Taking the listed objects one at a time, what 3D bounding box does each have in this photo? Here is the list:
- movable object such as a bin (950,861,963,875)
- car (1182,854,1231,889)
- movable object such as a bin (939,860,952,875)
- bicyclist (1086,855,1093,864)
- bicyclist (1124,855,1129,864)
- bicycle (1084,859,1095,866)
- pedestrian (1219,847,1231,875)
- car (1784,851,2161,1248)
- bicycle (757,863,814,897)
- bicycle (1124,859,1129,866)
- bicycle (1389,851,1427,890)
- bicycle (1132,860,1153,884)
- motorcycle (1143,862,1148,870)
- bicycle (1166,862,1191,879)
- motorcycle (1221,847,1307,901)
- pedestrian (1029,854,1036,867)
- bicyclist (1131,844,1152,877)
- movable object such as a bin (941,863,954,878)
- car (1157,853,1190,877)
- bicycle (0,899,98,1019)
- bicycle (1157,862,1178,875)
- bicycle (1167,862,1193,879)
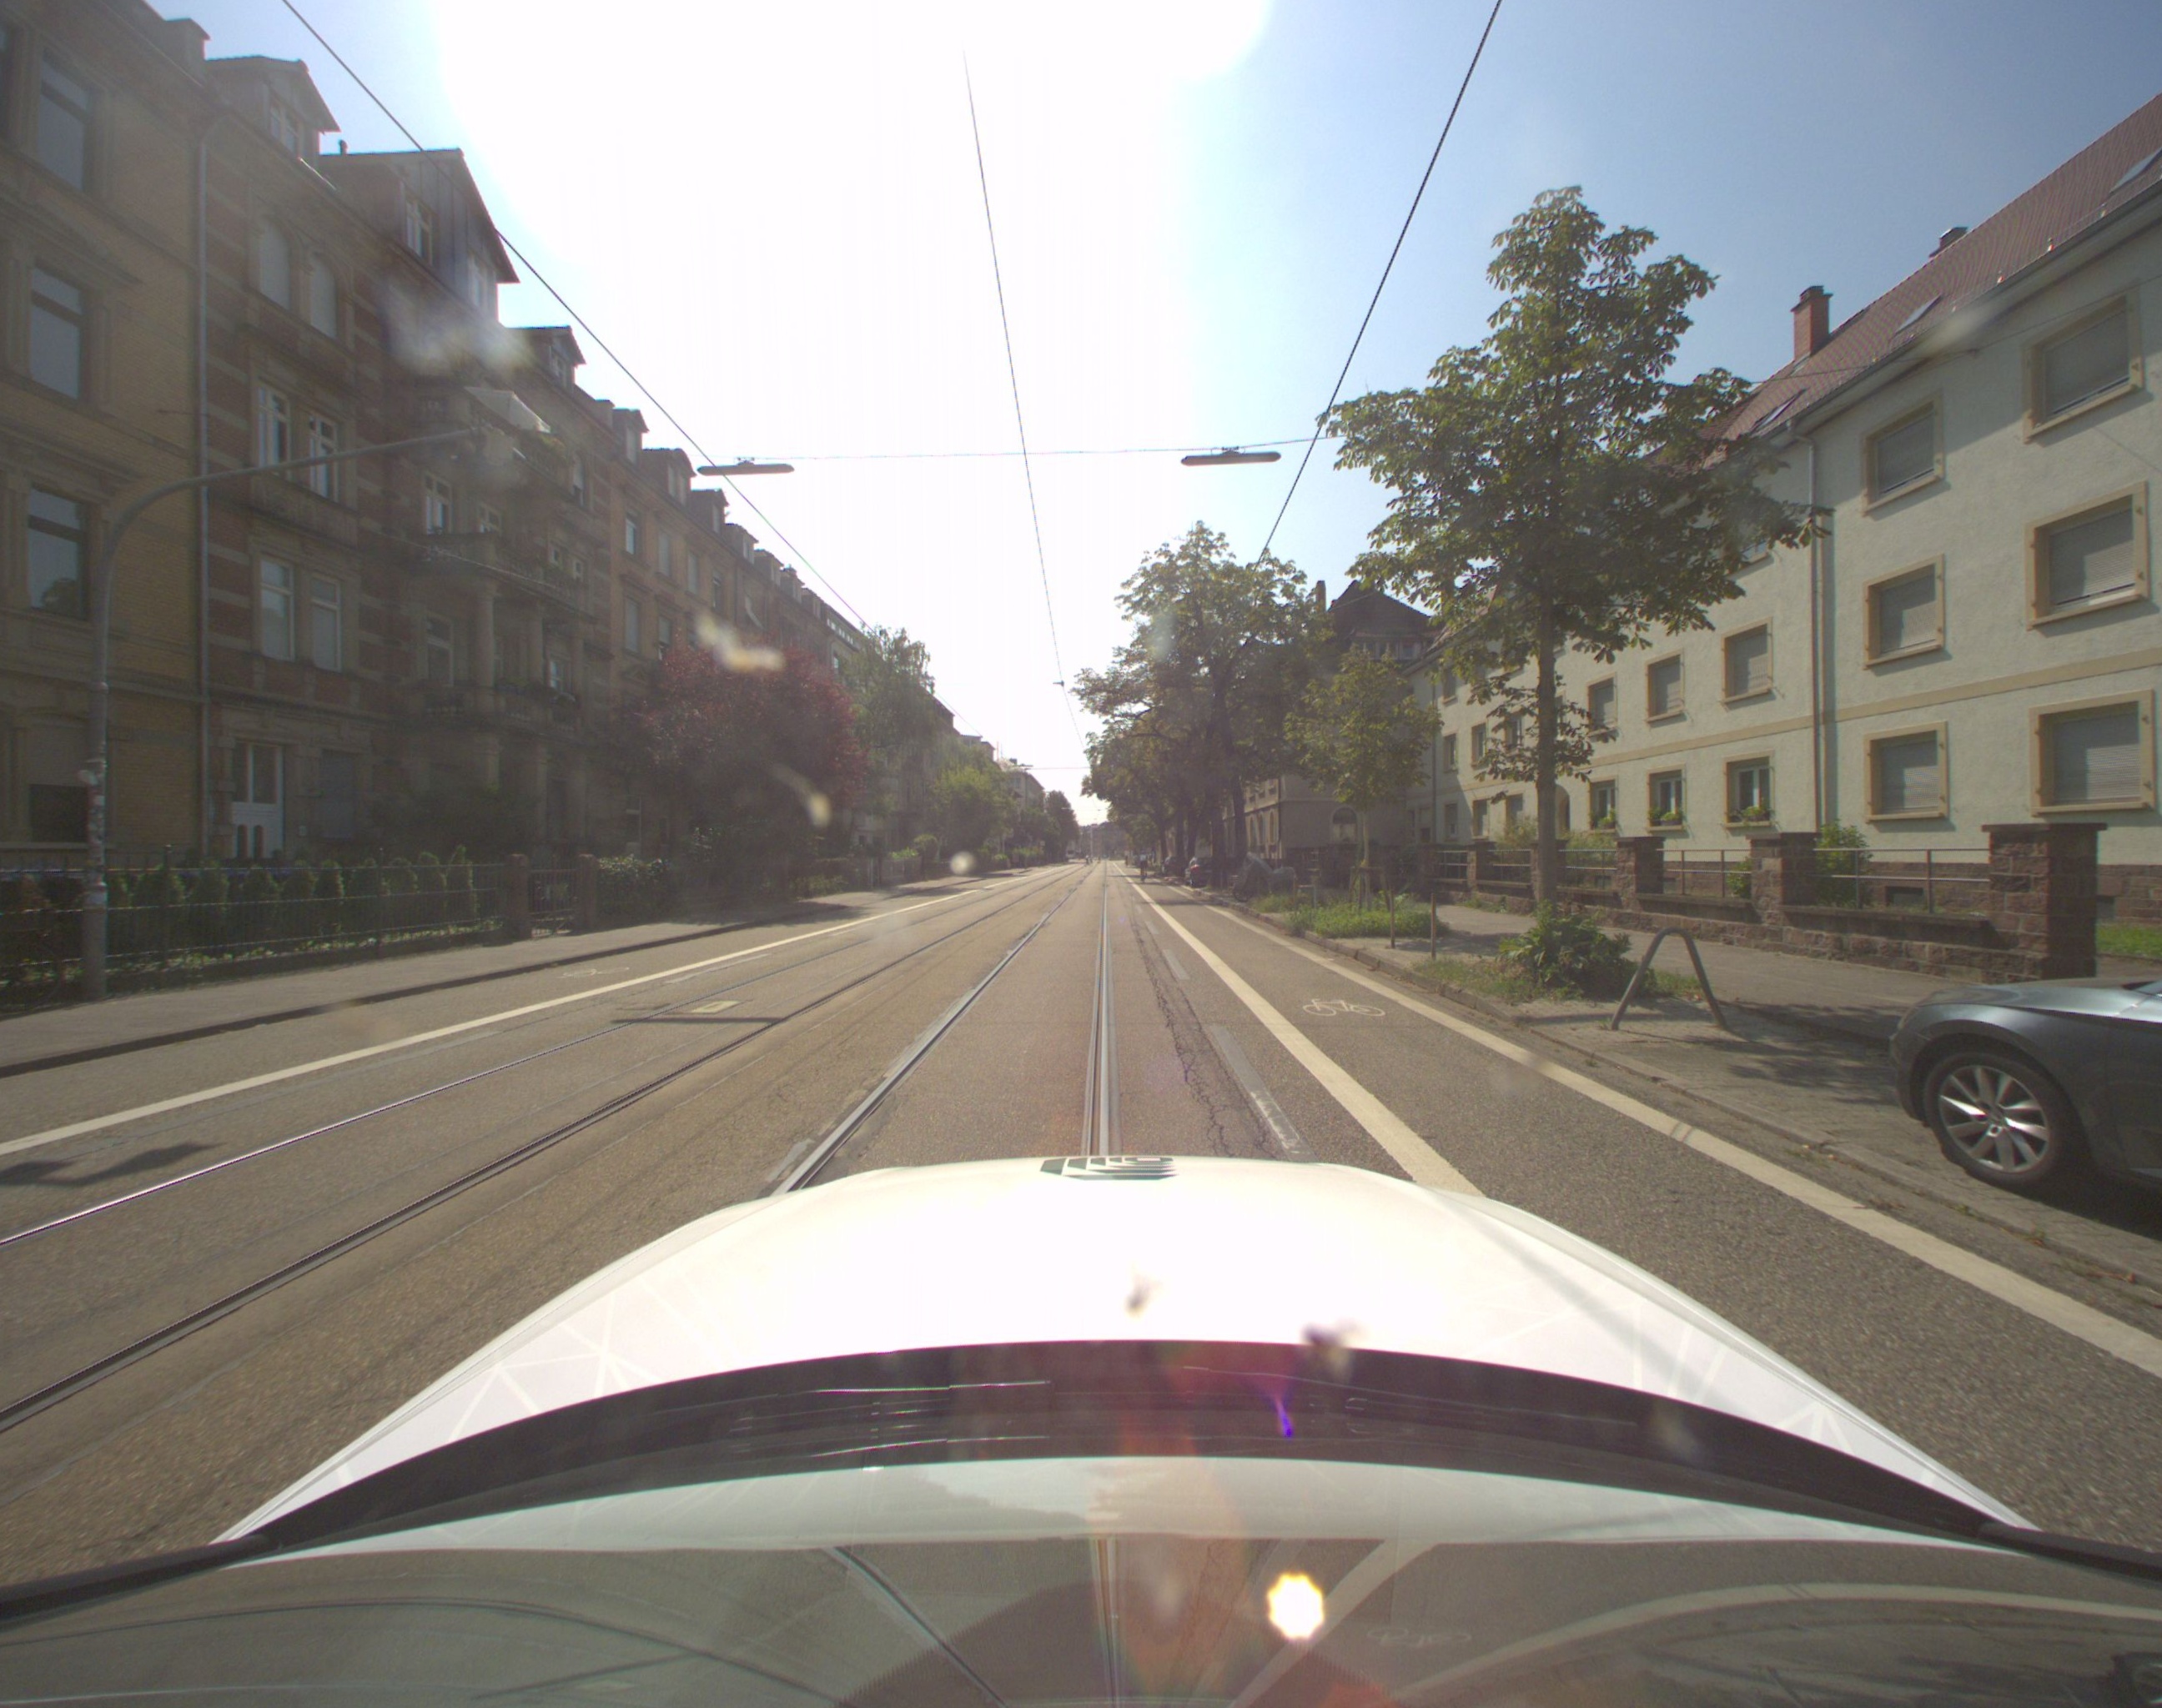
[{"bbox_3d":[-9.531,1.051,62.365,0.783,1.076,0.804,1,-1,4],"label":"movable object such as a bin"},{"bbox_3d":[6.169,0.825,40.411,1.834,1.532,4.116,-1,1,1],"label":"car"},{"bbox_3d":[-10.335,1.027,62.329,0.783,1.076,0.804,1,-1,4],"label":"movable object such as a bin"},{"bbox_3d":[1.204,0.803,117.436,0.752,1.391,0.783,-1,-1,22],"label":"bicyclist"},{"bbox_3d":[6.288,0.793,112.487,0.576,1.279,0.472,-1,-1,3],"label":"bicyclist"},{"bbox_3d":[1.251,1.267,117.533,0.752,0.991,2.310,-1,-1,21],"label":"bicycle"},{"bbox_3d":[9.823,0.478,55.481,0.703,1.892,0.714,-1,-1,3],"label":"pedestrian"},{"bbox_3d":[4.979,0.729,2.302,1.885,1.477,4.842,-1,0,1],"label":"car"},{"bbox_3d":[-10.887,0.949,30.045,1.805,1.182,0.717,1,-1,3],"label":"bicycle"},{"bbox_3d":[6.298,1.182,112.533,0.585,0.939,2.174,-1,-1,4],"label":"bicycle"},{"bbox_3d":[11.895,0.586,29.683,0.591,1.358,2.371,0,-1,4],"label":"bicycle"},{"bbox_3d":[3.436,0.977,45.944,1.143,1.269,2.714,-1,0,3],"label":"bicycle"},{"bbox_3d":[8.707,1.603,110.059,0.547,1.068,2.331,-1,-1,2],"label":"motorcycle"},{"bbox_3d":[6.431,1.093,53.663,1.596,1.104,0.399,0,-1,8],"label":"bicycle"},{"bbox_3d":[5.516,0.630,24.666,2.316,1.540,0.974,-4,-3,43],"label":"motorcycle"},{"bbox_3d":[-6.674,0.891,112.270,0.776,1.756,1.041,-1,-1,2],"label":"pedestrian"},{"bbox_3d":[3.414,0.366,45.860,1.121,1.837,0.956,-1,-1,2],"label":"bicyclist"},{"bbox_3d":[-9.555,1.208,58.464,0.784,1.076,0.755,1,-1,0],"label":"movable object such as a bin"},{"bbox_3d":[6.544,0.762,57.962,1.834,1.532,4.781,-2,0,1],"label":"car"},{"bbox_3d":[-10.471,1.019,7.726,0.389,1.099,1.568,0,0,0],"label":"bicycle"},{"bbox_3d":[7.194,1.204,68.056,1.706,1.032,0.567,-1,-1,2],"label":"bicycle"},{"bbox_3d":[6.559,1.092,54.045,1.713,1.149,0.377,0,-1,8],"label":"bicycle"}]
